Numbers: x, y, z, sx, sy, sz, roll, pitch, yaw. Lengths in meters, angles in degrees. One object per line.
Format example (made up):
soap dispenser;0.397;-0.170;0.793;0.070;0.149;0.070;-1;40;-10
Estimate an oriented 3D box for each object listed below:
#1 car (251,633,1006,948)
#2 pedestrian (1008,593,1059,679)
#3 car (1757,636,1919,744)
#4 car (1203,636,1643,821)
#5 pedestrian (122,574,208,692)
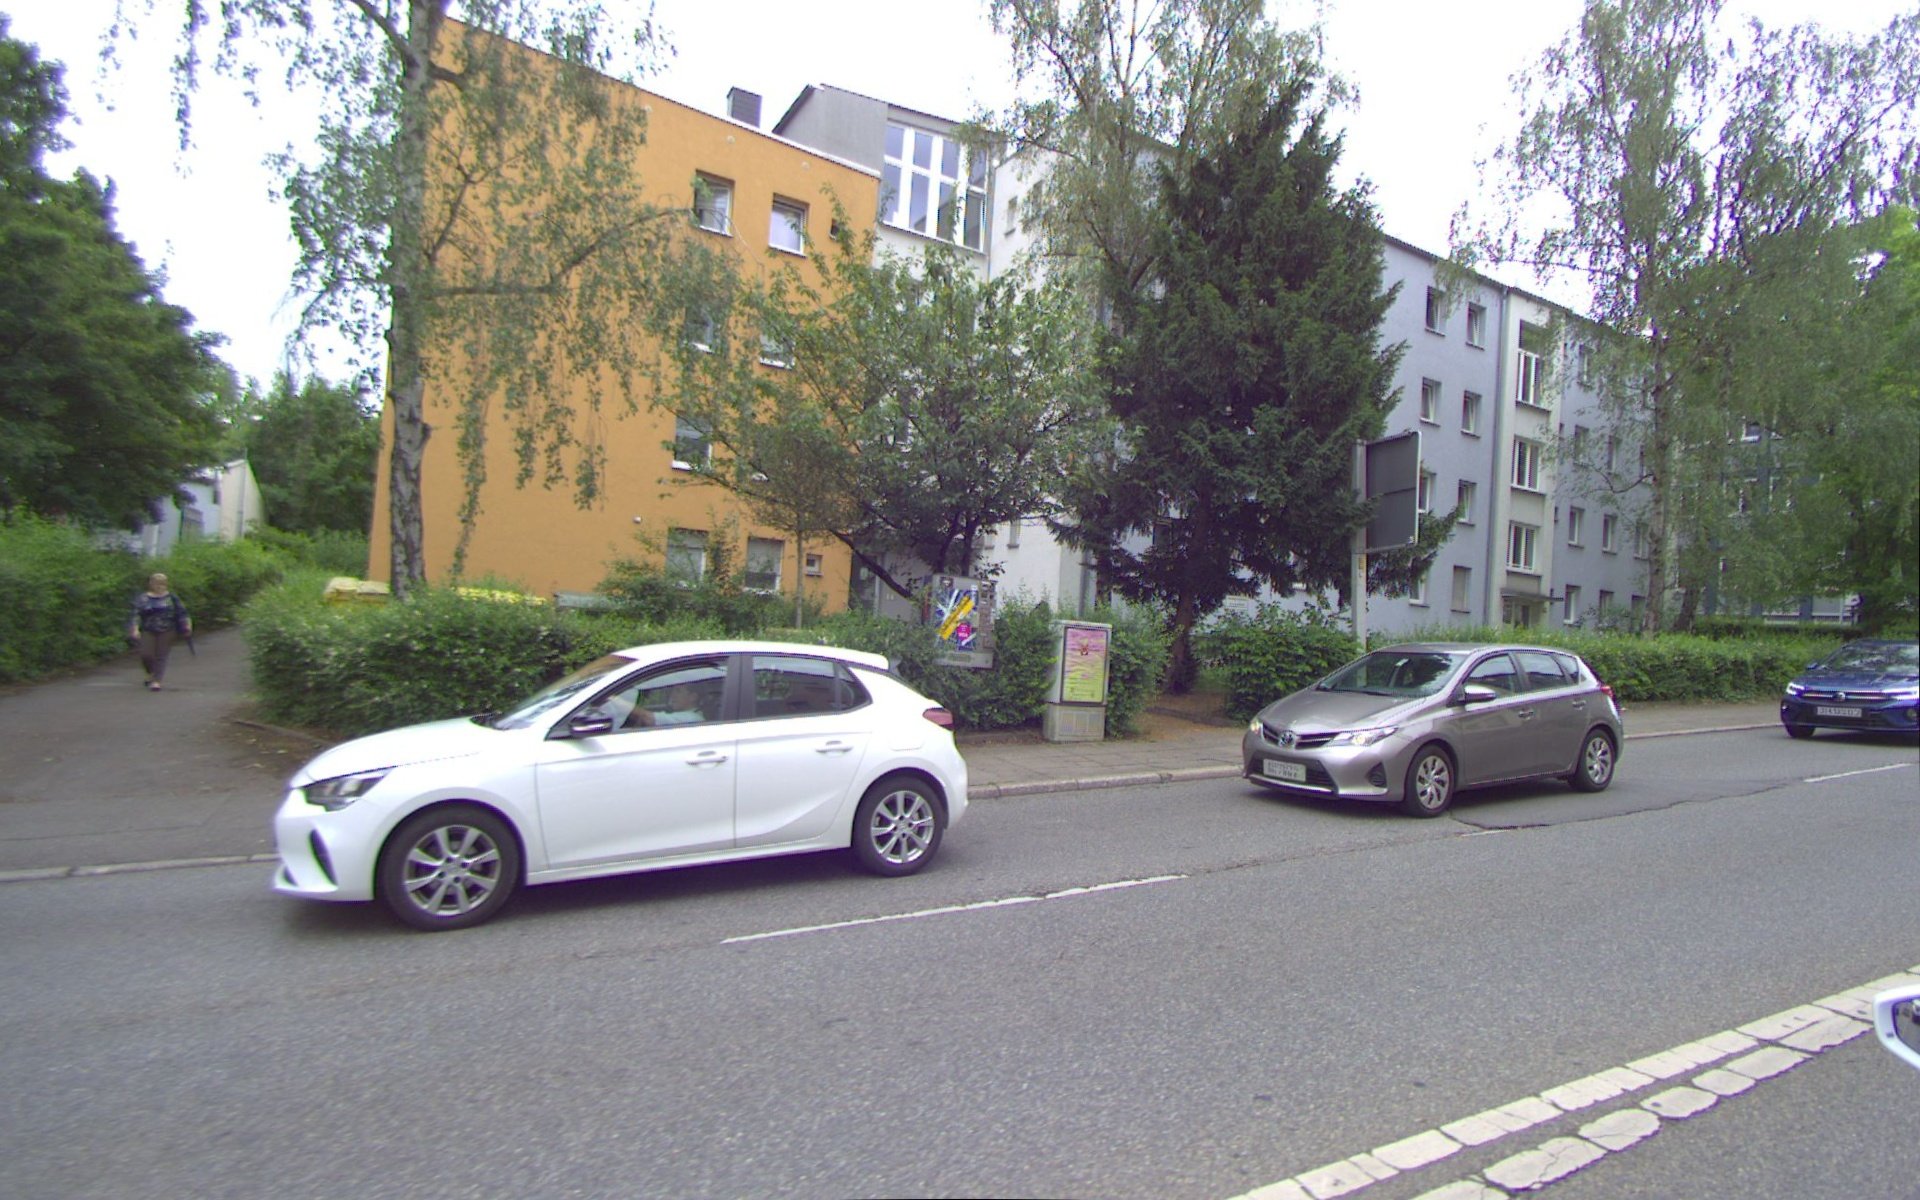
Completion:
car;-1.888;0.972;6.382;4.024;1.430;1.832;2;-4;-29
pedestrian;1.568;0.749;21.444;0.783;1.778;0.720;-2;1;-25
car;14.430;1.326;15.567;4.260;1.467;1.831;2;-3;-30
car;4.613;1.120;9.888;4.260;1.467;1.831;2;-3;-30
pedestrian;-11.069;0.460;14.018;0.782;1.581;0.786;3;-1;-33
